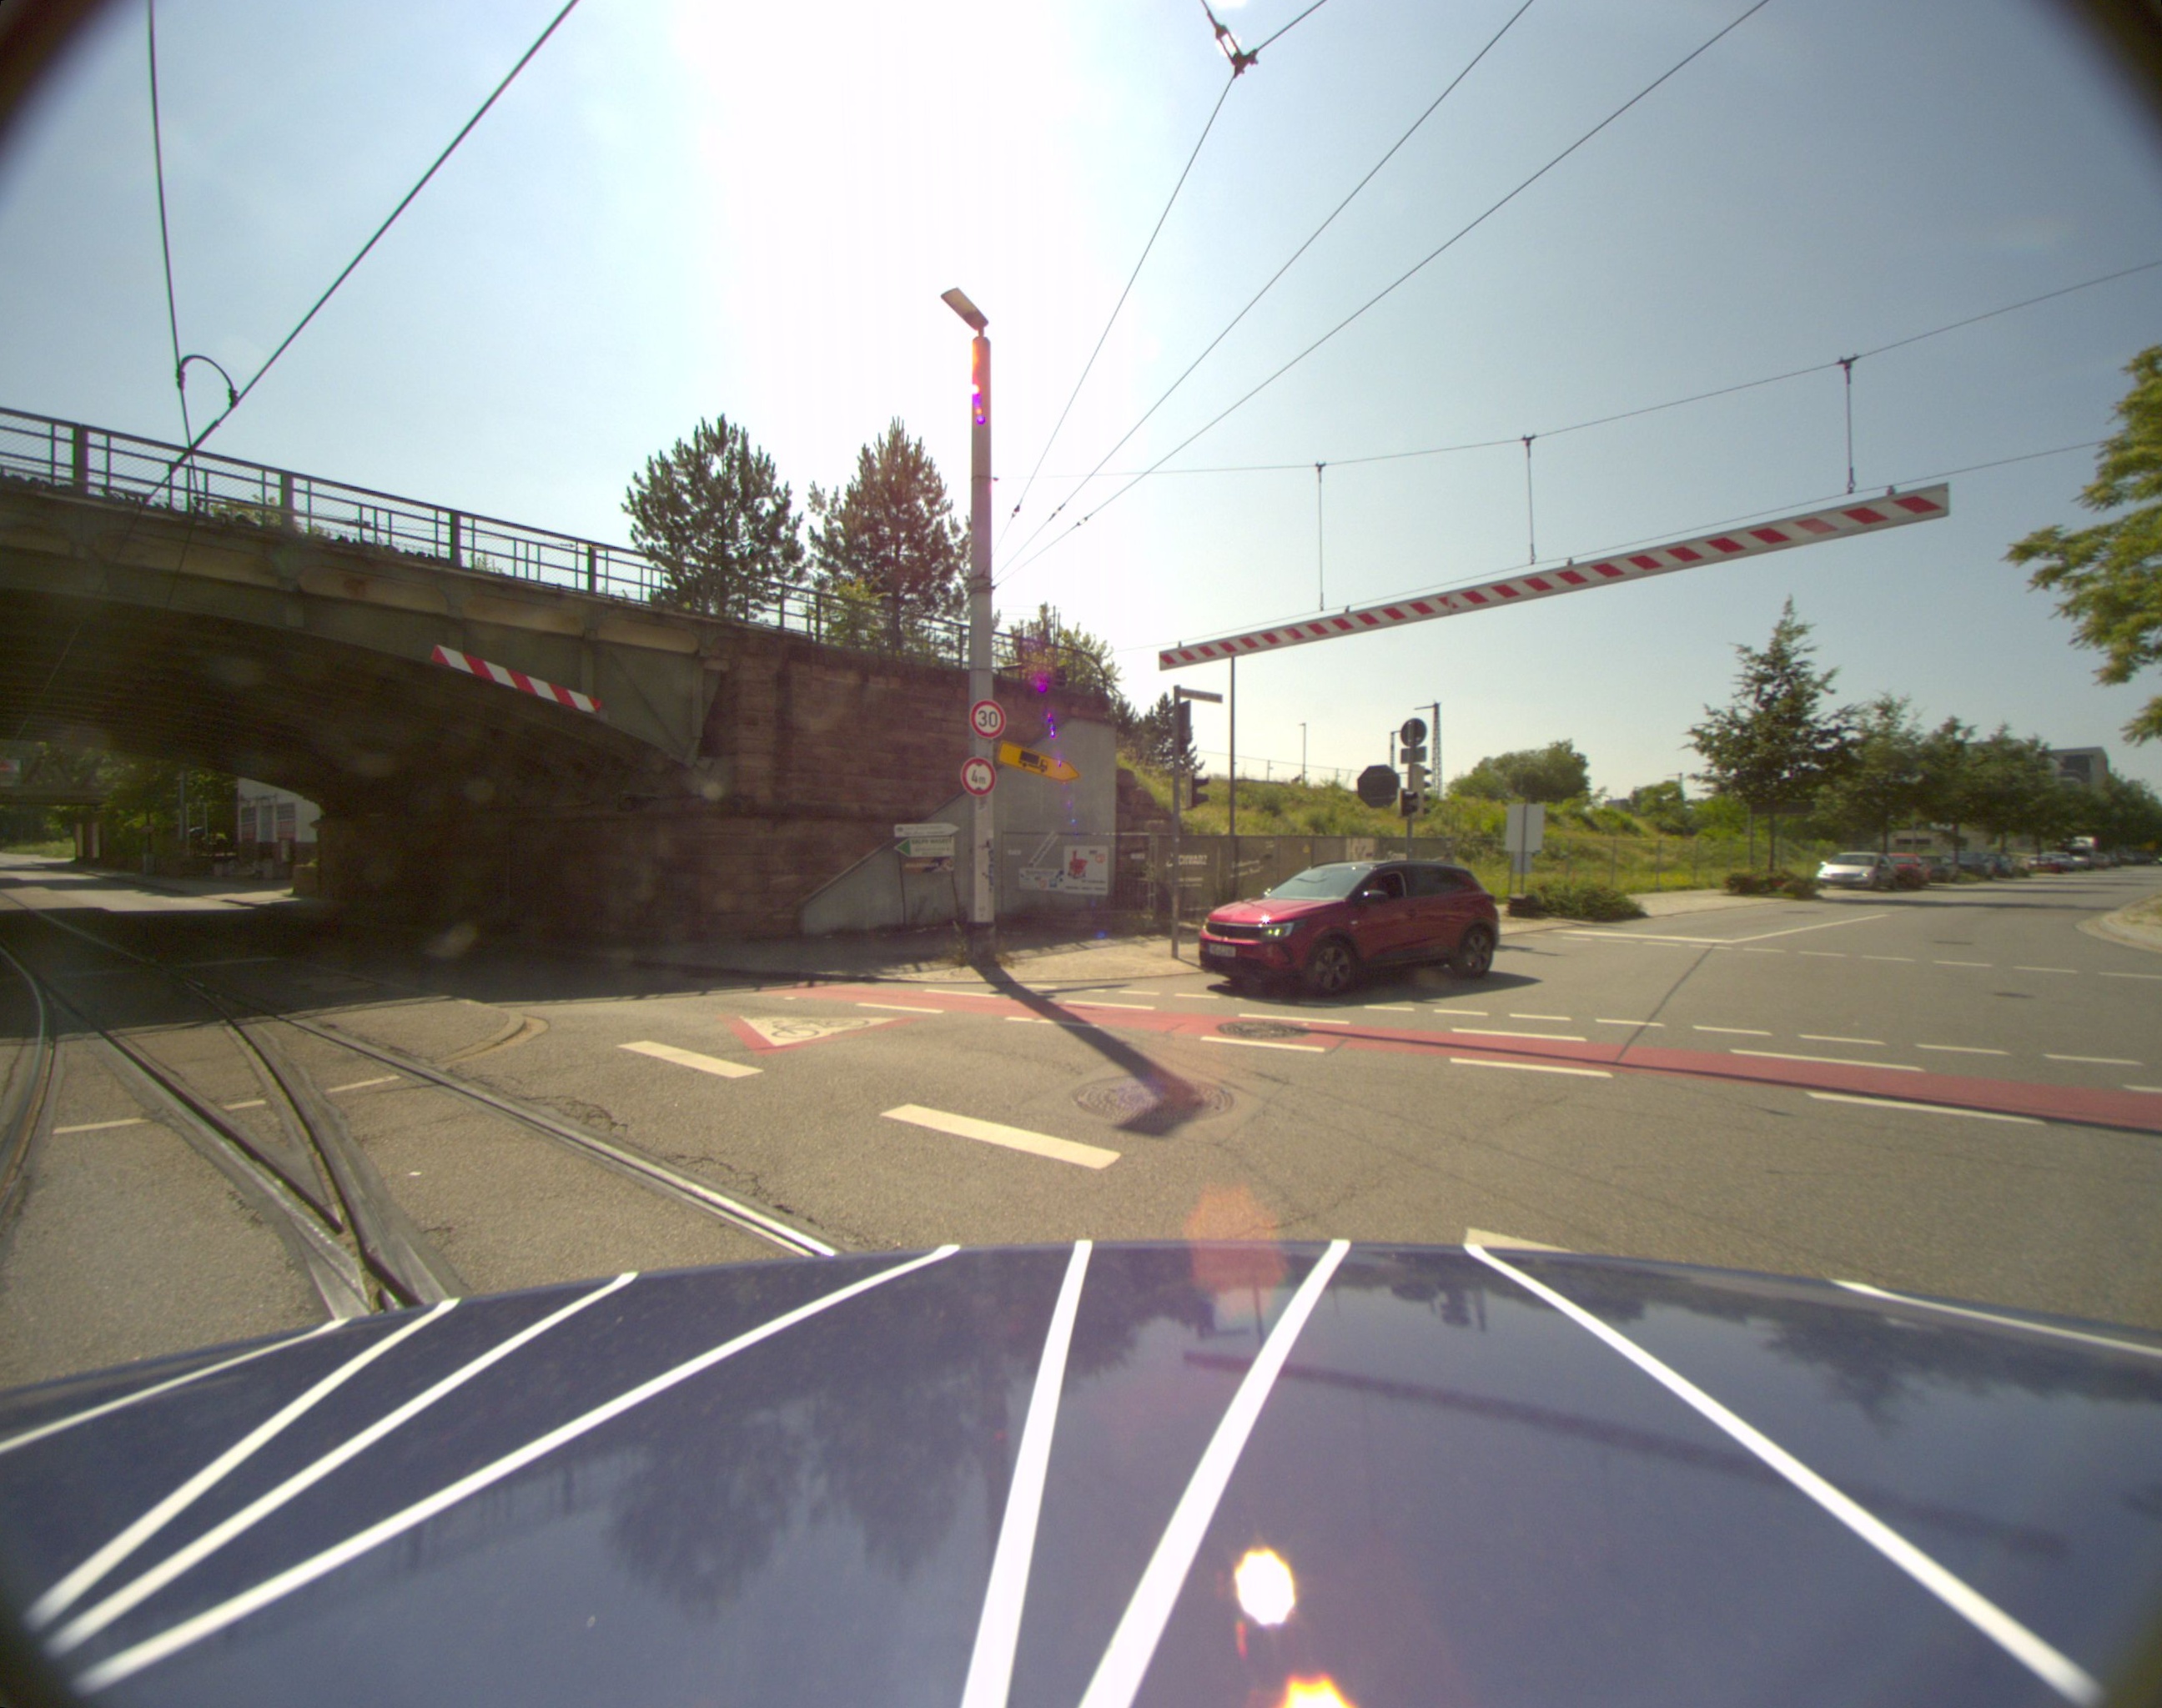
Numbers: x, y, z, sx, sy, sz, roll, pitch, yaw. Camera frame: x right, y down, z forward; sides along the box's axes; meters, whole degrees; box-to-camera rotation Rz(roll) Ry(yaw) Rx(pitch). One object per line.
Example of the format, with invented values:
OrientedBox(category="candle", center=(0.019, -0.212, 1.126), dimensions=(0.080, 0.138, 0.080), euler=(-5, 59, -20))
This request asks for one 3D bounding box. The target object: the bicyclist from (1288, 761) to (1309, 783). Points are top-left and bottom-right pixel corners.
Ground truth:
OrientedBox(category="bicyclist", center=(15.258, -5.756, 53.203), dimensions=(1.065, 1.380, 0.950), euler=(-2, 0, -42))

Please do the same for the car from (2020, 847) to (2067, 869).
OrientedBox(category="car", center=(75.057, 0.320, 59.236), dimensions=(4.007, 1.607, 1.843), euler=(0, 2, -33))

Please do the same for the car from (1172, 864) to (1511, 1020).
OrientedBox(category="car", center=(3.510, 0.978, 10.073), dimensions=(4.313, 1.594, 1.818), euler=(-1, 0, -29))

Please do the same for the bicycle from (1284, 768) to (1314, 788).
OrientedBox(category="bicycle", center=(15.264, -5.323, 53.192), dimensions=(2.178, 1.206, 0.935), euler=(-2, 0, -42))

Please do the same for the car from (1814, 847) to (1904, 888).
OrientedBox(category="car", center=(33.919, 0.554, 33.113), dimensions=(4.378, 1.607, 1.843), euler=(0, 3, -33))

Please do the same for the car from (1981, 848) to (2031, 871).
OrientedBox(category="car", center=(67.036, 0.389, 55.058), dimensions=(4.007, 1.607, 1.843), euler=(0, 2, -33))

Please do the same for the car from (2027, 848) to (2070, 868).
OrientedBox(category="car", center=(81.481, 0.296, 63.955), dimensions=(4.007, 1.607, 1.843), euler=(0, 2, -33))

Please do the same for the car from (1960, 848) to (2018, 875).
OrientedBox(category="car", center=(57.640, 0.458, 48.240), dimensions=(4.007, 1.607, 1.843), euler=(0, 2, -33))

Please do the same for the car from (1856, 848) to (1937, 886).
OrientedBox(category="car", center=(37.780, 0.556, 35.175), dimensions=(4.007, 1.607, 1.843), euler=(0, 2, -33))

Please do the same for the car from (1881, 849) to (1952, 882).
OrientedBox(category="car", center=(43.733, 0.572, 39.762), dimensions=(4.007, 1.607, 1.843), euler=(0, 2, -33))

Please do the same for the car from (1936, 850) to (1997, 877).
OrientedBox(category="car", center=(52.290, 0.519, 44.841), dimensions=(4.007, 1.533, 1.865), euler=(0, 0, -34))
